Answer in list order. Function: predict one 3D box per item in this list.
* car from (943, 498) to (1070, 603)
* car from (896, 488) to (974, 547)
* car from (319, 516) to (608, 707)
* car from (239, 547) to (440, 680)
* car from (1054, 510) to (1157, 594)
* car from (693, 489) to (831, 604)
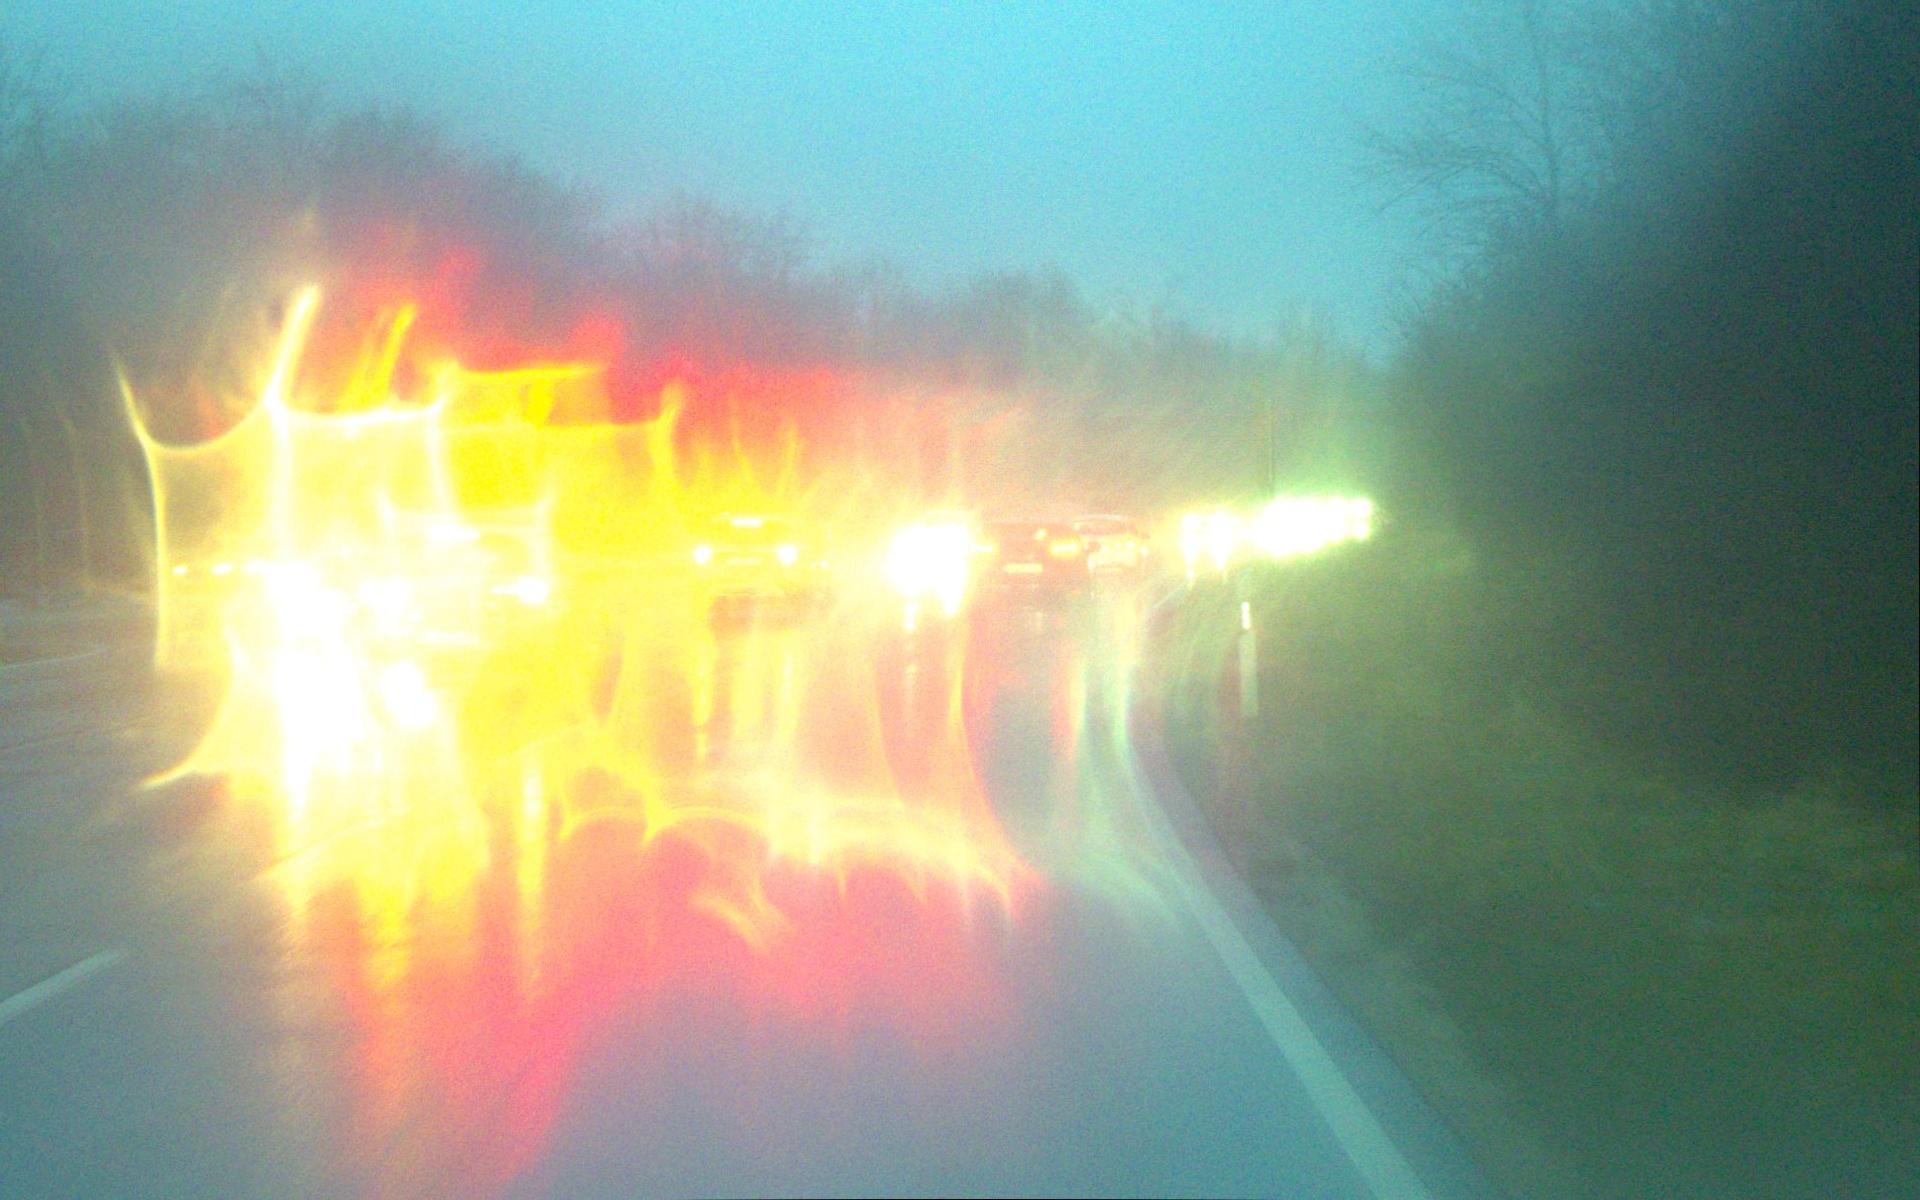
[{"bbox_3d":[0.691,-0.726,48.311,1.679,1.385,4.098,-1,2,2],"label":"car"},{"bbox_3d":[-0.685,-2.338,96.899,1.823,1.611,4.573,0,2,4],"label":"car"},{"bbox_3d":[-4.320,0.048,30.564,2.005,1.550,4.517,1,1,-1],"label":"car"},{"bbox_3d":[-7.641,0.124,42.680,1.645,1.551,4.381,0,1,1],"label":"car"},{"bbox_3d":[3.052,-1.020,71.464,1.679,1.669,4.097,-1,2,9],"label":"car"},{"bbox_3d":[-2.891,-0.810,50.898,1.713,1.621,4.218,0,2,1],"label":"car"}]
